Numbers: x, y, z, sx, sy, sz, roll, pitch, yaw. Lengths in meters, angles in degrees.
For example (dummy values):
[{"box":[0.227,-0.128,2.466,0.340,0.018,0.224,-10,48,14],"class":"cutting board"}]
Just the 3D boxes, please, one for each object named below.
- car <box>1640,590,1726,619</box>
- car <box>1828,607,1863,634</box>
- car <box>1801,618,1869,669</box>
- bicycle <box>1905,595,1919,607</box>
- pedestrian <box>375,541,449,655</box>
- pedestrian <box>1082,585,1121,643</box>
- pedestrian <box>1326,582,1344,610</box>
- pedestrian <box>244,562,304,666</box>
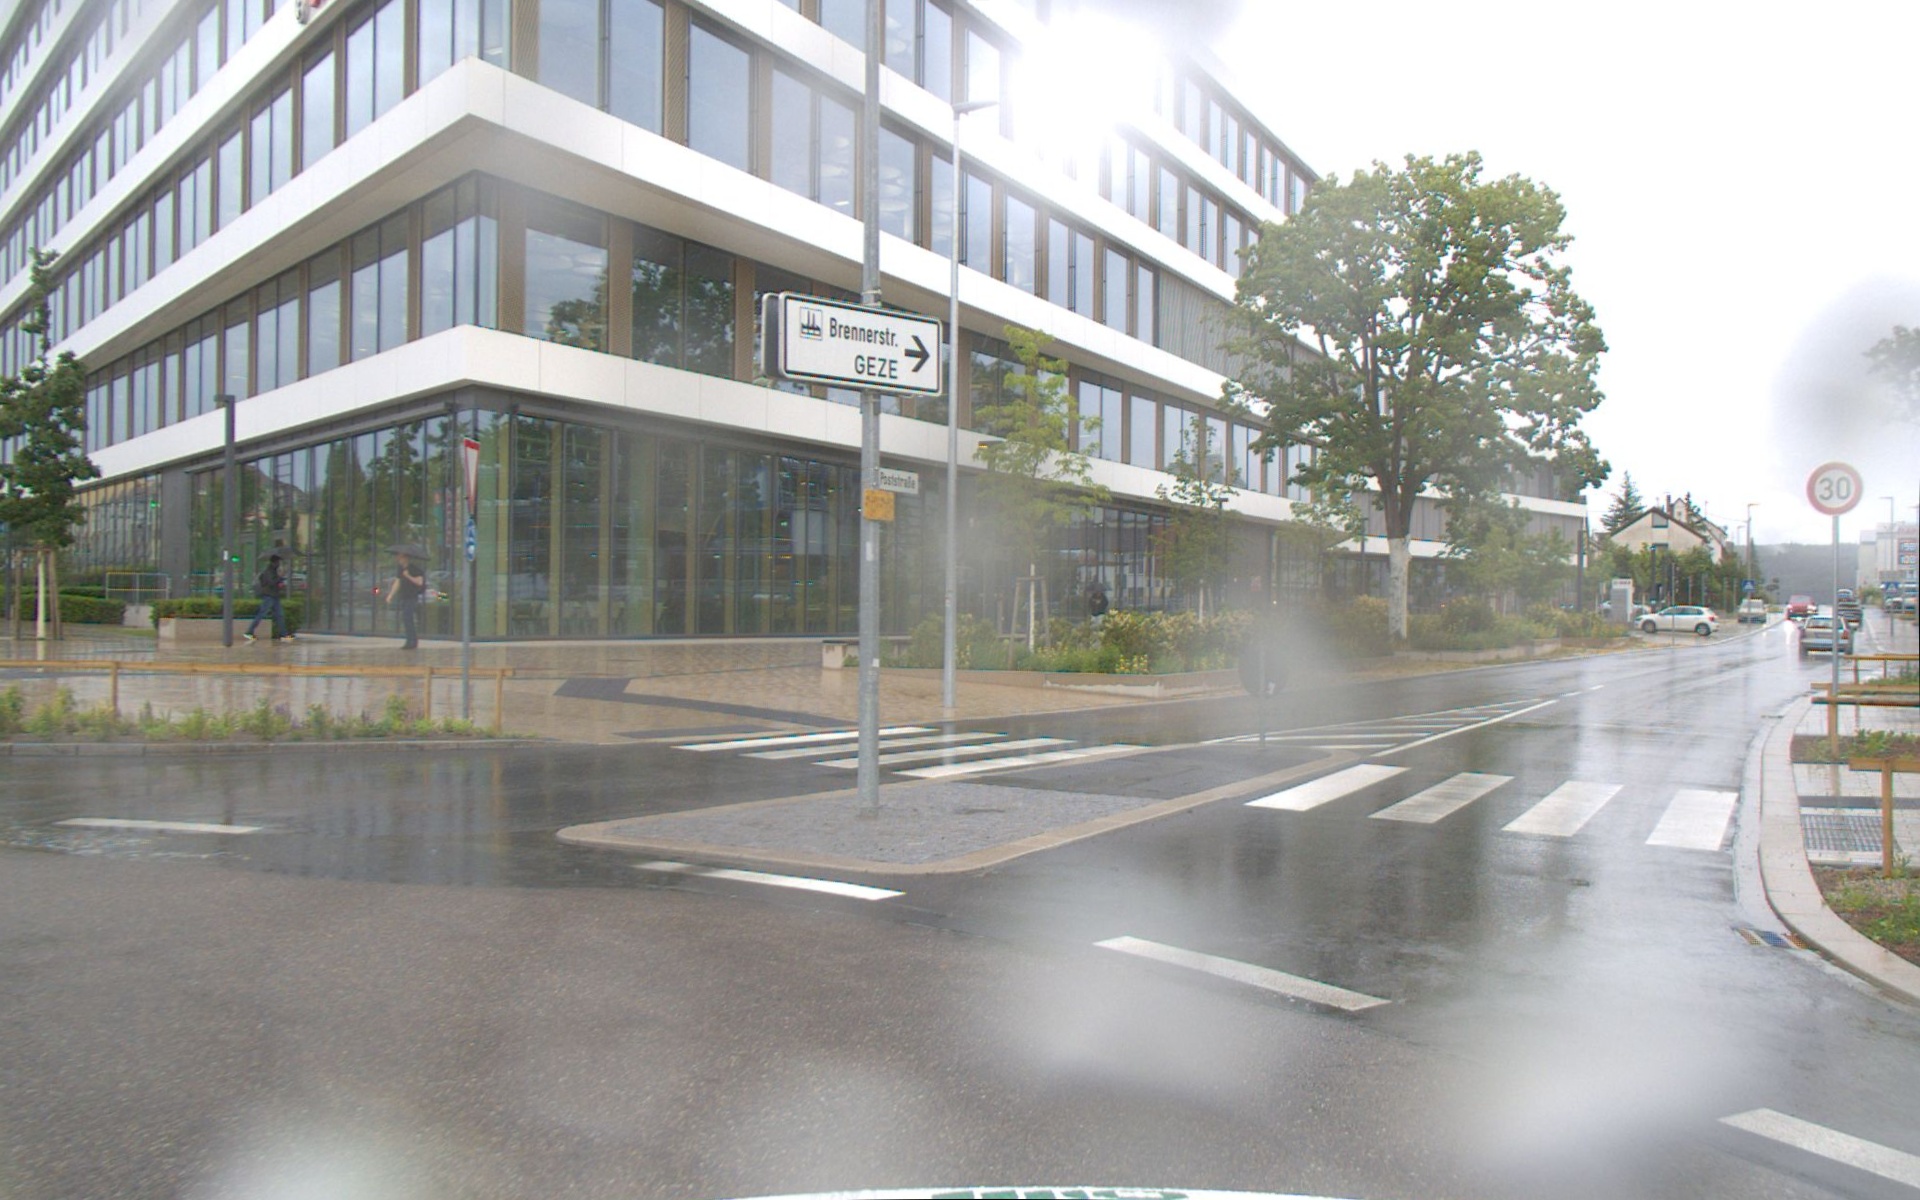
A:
[{"box":[36.787,0.210,84.175,3.854,1.448,1.894,1,0,30],"class":"car"},{"box":[64.459,1.469,120.424,2.114,1.735,3.993,5,1,28],"class":"car"},{"box":[31.216,1.542,59.094,1.911,1.582,3.996,5,1,26],"class":"car"},{"box":[90.172,0.108,155.185,0.655,1.085,3.627,4,1,-2],"class":"bicycle"},{"box":[-10.142,-0.044,30.617,0.873,2.049,0.931,1,0,25],"class":"pedestrian"},{"box":[4.401,0.429,51.413,0.711,1.733,0.954,4,0,32],"class":"pedestrian"},{"box":[24.309,-0.257,107.290,0.993,1.754,0.771,1,1,26],"class":"pedestrian"},{"box":[-14.661,0.295,35.339,0.994,2.183,0.920,1,0,-35],"class":"pedestrian"}]
